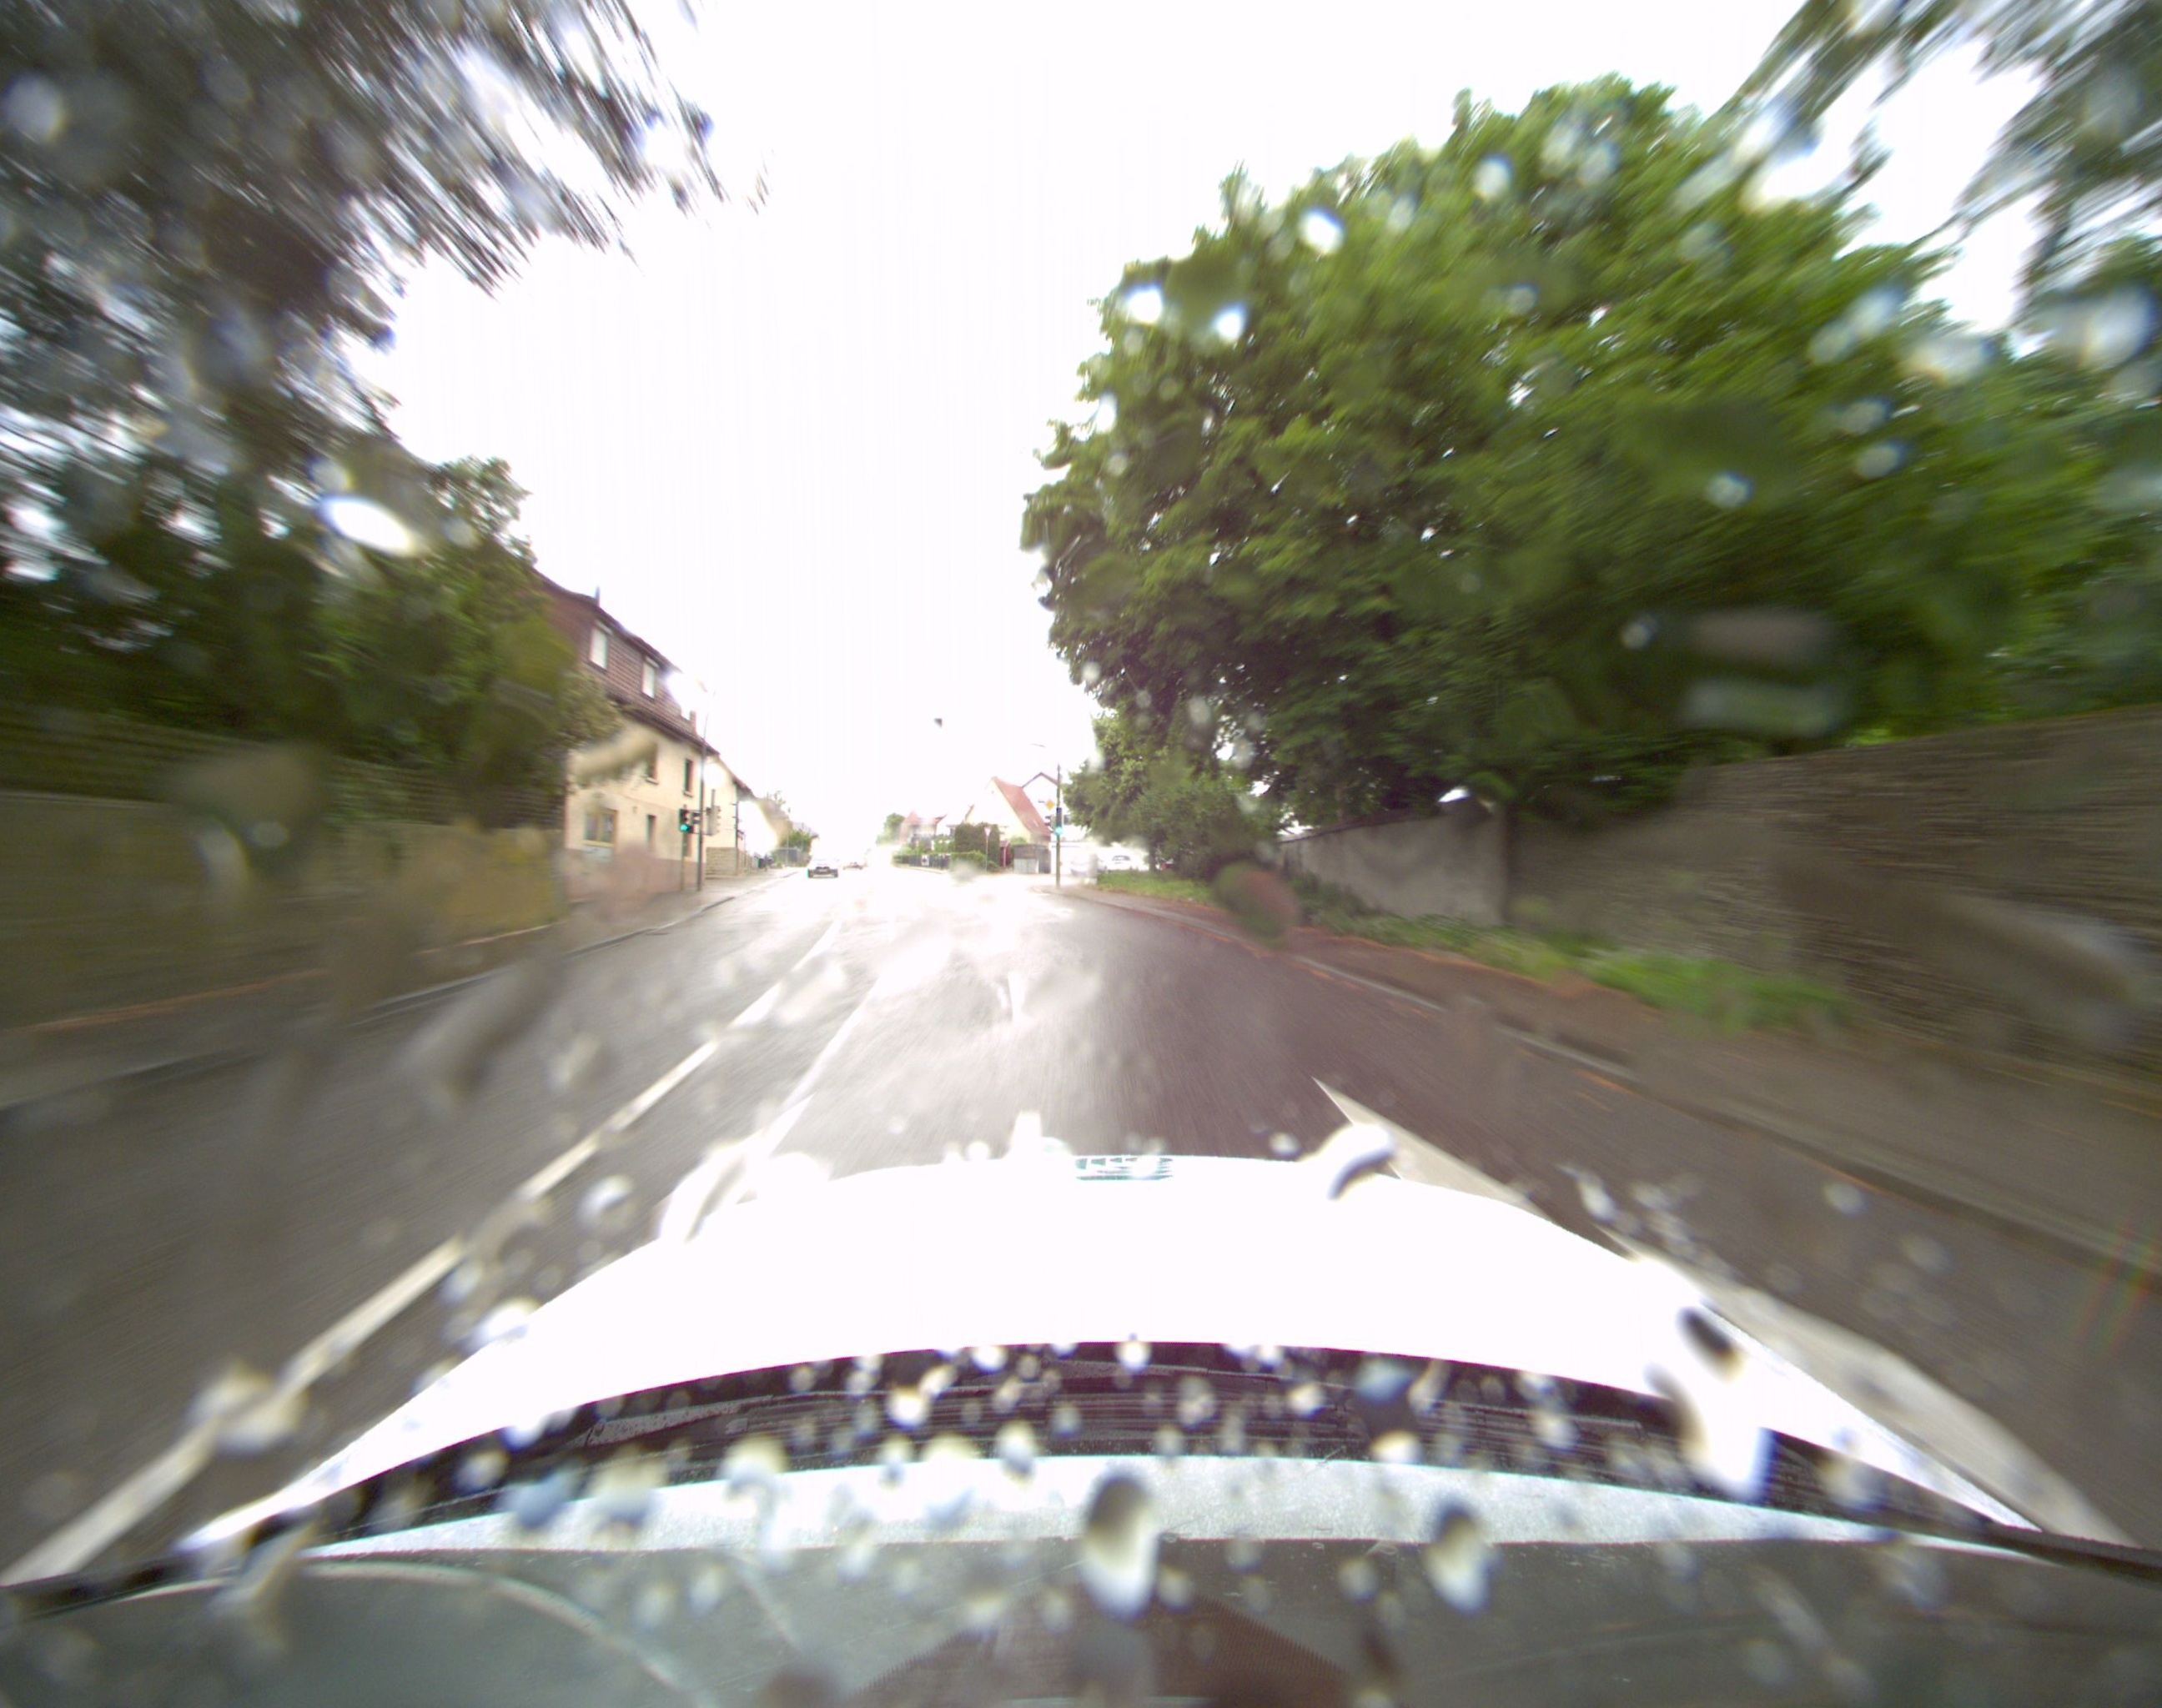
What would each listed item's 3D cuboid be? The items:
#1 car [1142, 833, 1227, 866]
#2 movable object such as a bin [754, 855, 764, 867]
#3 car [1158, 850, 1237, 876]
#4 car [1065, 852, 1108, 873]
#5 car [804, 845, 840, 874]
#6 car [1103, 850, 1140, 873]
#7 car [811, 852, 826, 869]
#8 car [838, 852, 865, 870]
[{"bbox_3d":[4.946,-0.191,39.211,3.968,1.455,1.857,-1,0,5],"label":"car"},{"bbox_3d":[-28.300,0.578,71.654,0.637,1.032,0.672,-1,0,-5],"label":"movable object such as a bin"},{"bbox_3d":[6.575,0.502,46.068,4.165,1.442,1.831,0,0,-3],"label":"car"},{"bbox_3d":[0.455,0.572,59.347,1.978,1.398,4.169,-1,0,17],"label":"car"},{"bbox_3d":[-16.103,0.328,50.825,1.998,1.706,3.978,-1,0,-16],"label":"car"},{"bbox_3d":[2.960,0.506,58.917,1.980,1.530,4.014,-1,0,13],"label":"car"},{"bbox_3d":[-45.295,1.112,140.412,2.098,2.649,5.886,2,-2,-15],"label":"car"},{"bbox_3d":[-21.283,0.618,75.443,1.952,1.574,4.193,0,0,-23],"label":"car"}]
